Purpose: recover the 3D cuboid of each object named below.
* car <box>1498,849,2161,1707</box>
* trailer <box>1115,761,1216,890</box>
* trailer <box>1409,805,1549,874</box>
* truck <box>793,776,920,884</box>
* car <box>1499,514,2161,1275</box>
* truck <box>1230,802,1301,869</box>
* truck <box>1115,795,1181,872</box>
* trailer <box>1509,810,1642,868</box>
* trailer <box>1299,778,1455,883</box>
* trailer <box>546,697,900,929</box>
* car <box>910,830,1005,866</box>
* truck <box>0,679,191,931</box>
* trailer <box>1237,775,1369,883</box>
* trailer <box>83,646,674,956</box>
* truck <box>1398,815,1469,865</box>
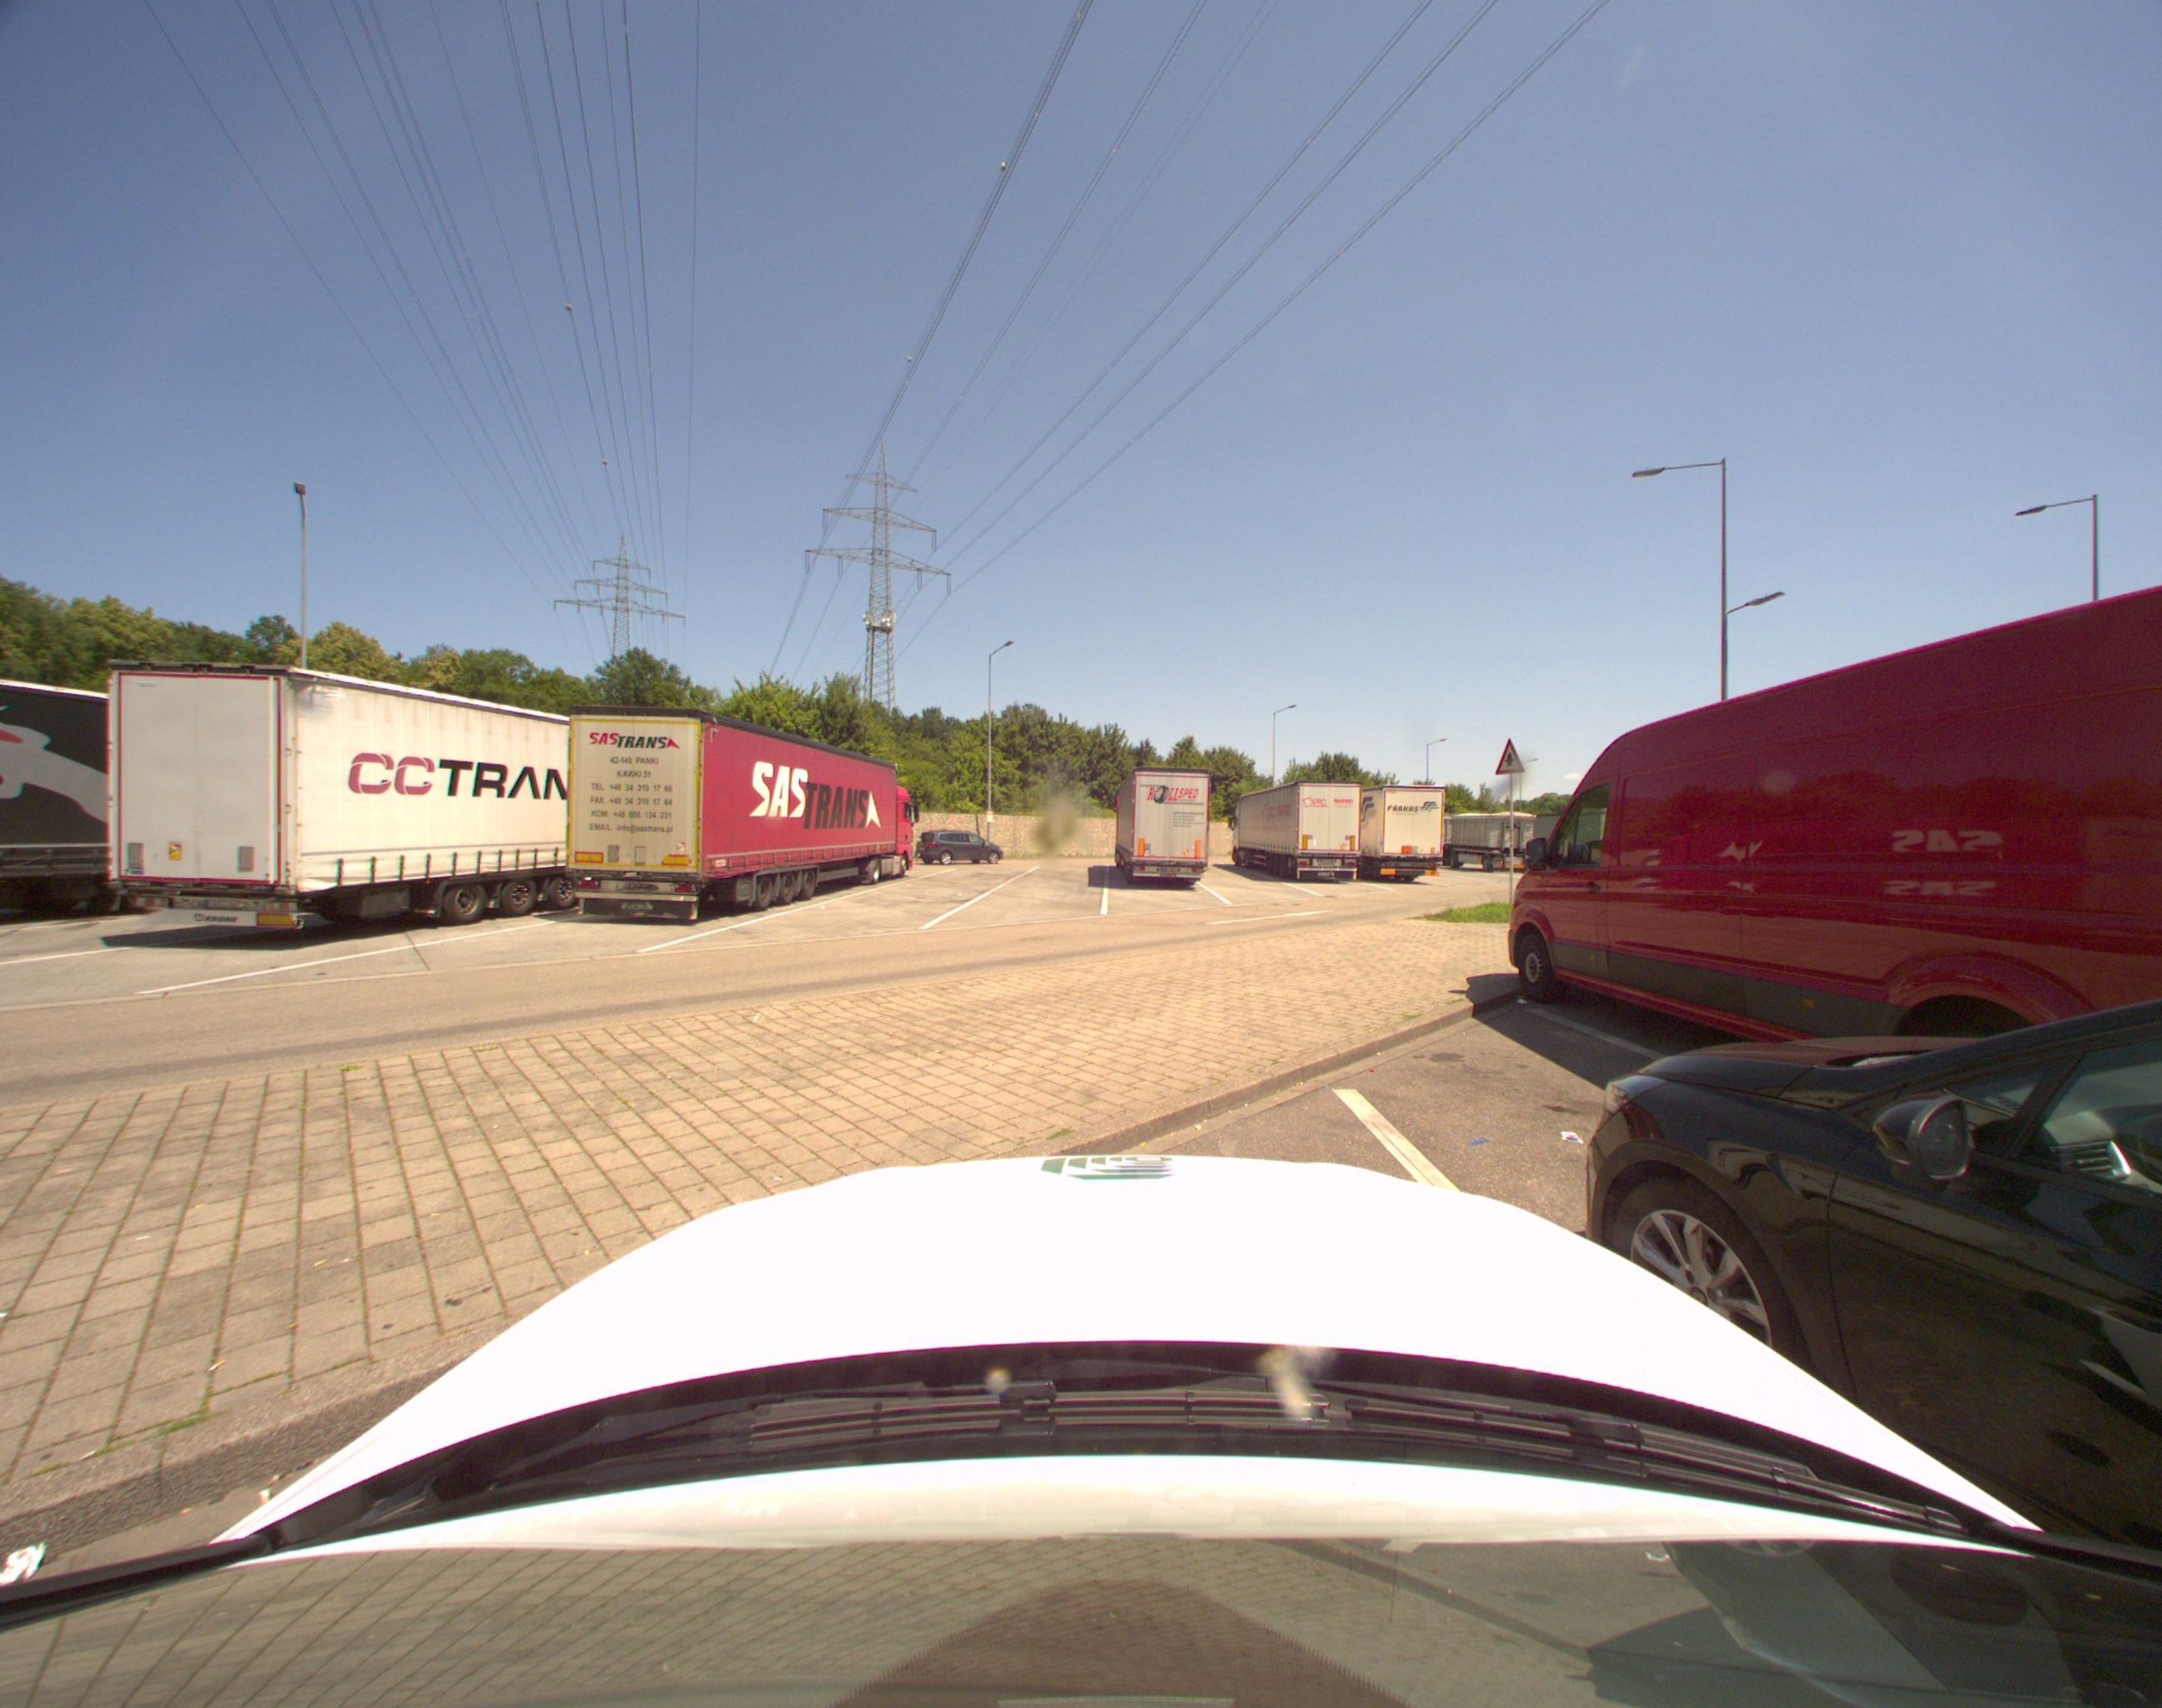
[{"bbox_3d":[2.509,0.761,1.157,1.733,1.482,3.813,-1,1,-3],"label":"car"},{"bbox_3d":[3.022,-1.115,33.273,2.896,4.132,13.727,1,2,1],"label":"trailer"},{"bbox_3d":[24.532,-0.998,51.427,2.826,3.717,13.737,1,2,3],"label":"trailer"},{"bbox_3d":[-7.803,-0.859,29.072,2.841,3.427,5.486,1,1,2],"label":"truck"},{"bbox_3d":[5.154,0.094,5.466,2.055,2.695,6.405,-1,1,6],"label":"car"},{"bbox_3d":[10.163,-1.040,45.409,2.841,3.483,5.486,1,1,2],"label":"truck"},{"bbox_3d":[3.167,-1.005,39.885,2.841,3.483,5.486,1,1,2],"label":"truck"},{"bbox_3d":[38.377,-1.224,64.108,2.826,4.049,13.737,1,2,3],"label":"trailer"},{"bbox_3d":[13.610,-1.124,39.261,2.828,4.132,13.730,1,2,2],"label":"trailer"},{"bbox_3d":[-8.043,-0.973,21.635,2.896,4.131,13.731,1,2,2],"label":"trailer"},{"bbox_3d":[-6.300,-0.330,41.879,4.535,1.708,1.766,0,3,-40],"label":"car"},{"bbox_3d":[-18.585,-0.829,13.543,2.692,4.016,4.327,1,2,2],"label":"truck"},{"bbox_3d":[9.954,-1.161,38.599,2.828,4.132,13.730,1,2,2],"label":"trailer"},{"bbox_3d":[-12.209,-0.911,16.307,2.718,4.209,10.176,1,2,2],"label":"trailer"},{"bbox_3d":[24.922,-1.010,57.925,2.840,3.364,5.488,1,2,3],"label":"truck"}]
